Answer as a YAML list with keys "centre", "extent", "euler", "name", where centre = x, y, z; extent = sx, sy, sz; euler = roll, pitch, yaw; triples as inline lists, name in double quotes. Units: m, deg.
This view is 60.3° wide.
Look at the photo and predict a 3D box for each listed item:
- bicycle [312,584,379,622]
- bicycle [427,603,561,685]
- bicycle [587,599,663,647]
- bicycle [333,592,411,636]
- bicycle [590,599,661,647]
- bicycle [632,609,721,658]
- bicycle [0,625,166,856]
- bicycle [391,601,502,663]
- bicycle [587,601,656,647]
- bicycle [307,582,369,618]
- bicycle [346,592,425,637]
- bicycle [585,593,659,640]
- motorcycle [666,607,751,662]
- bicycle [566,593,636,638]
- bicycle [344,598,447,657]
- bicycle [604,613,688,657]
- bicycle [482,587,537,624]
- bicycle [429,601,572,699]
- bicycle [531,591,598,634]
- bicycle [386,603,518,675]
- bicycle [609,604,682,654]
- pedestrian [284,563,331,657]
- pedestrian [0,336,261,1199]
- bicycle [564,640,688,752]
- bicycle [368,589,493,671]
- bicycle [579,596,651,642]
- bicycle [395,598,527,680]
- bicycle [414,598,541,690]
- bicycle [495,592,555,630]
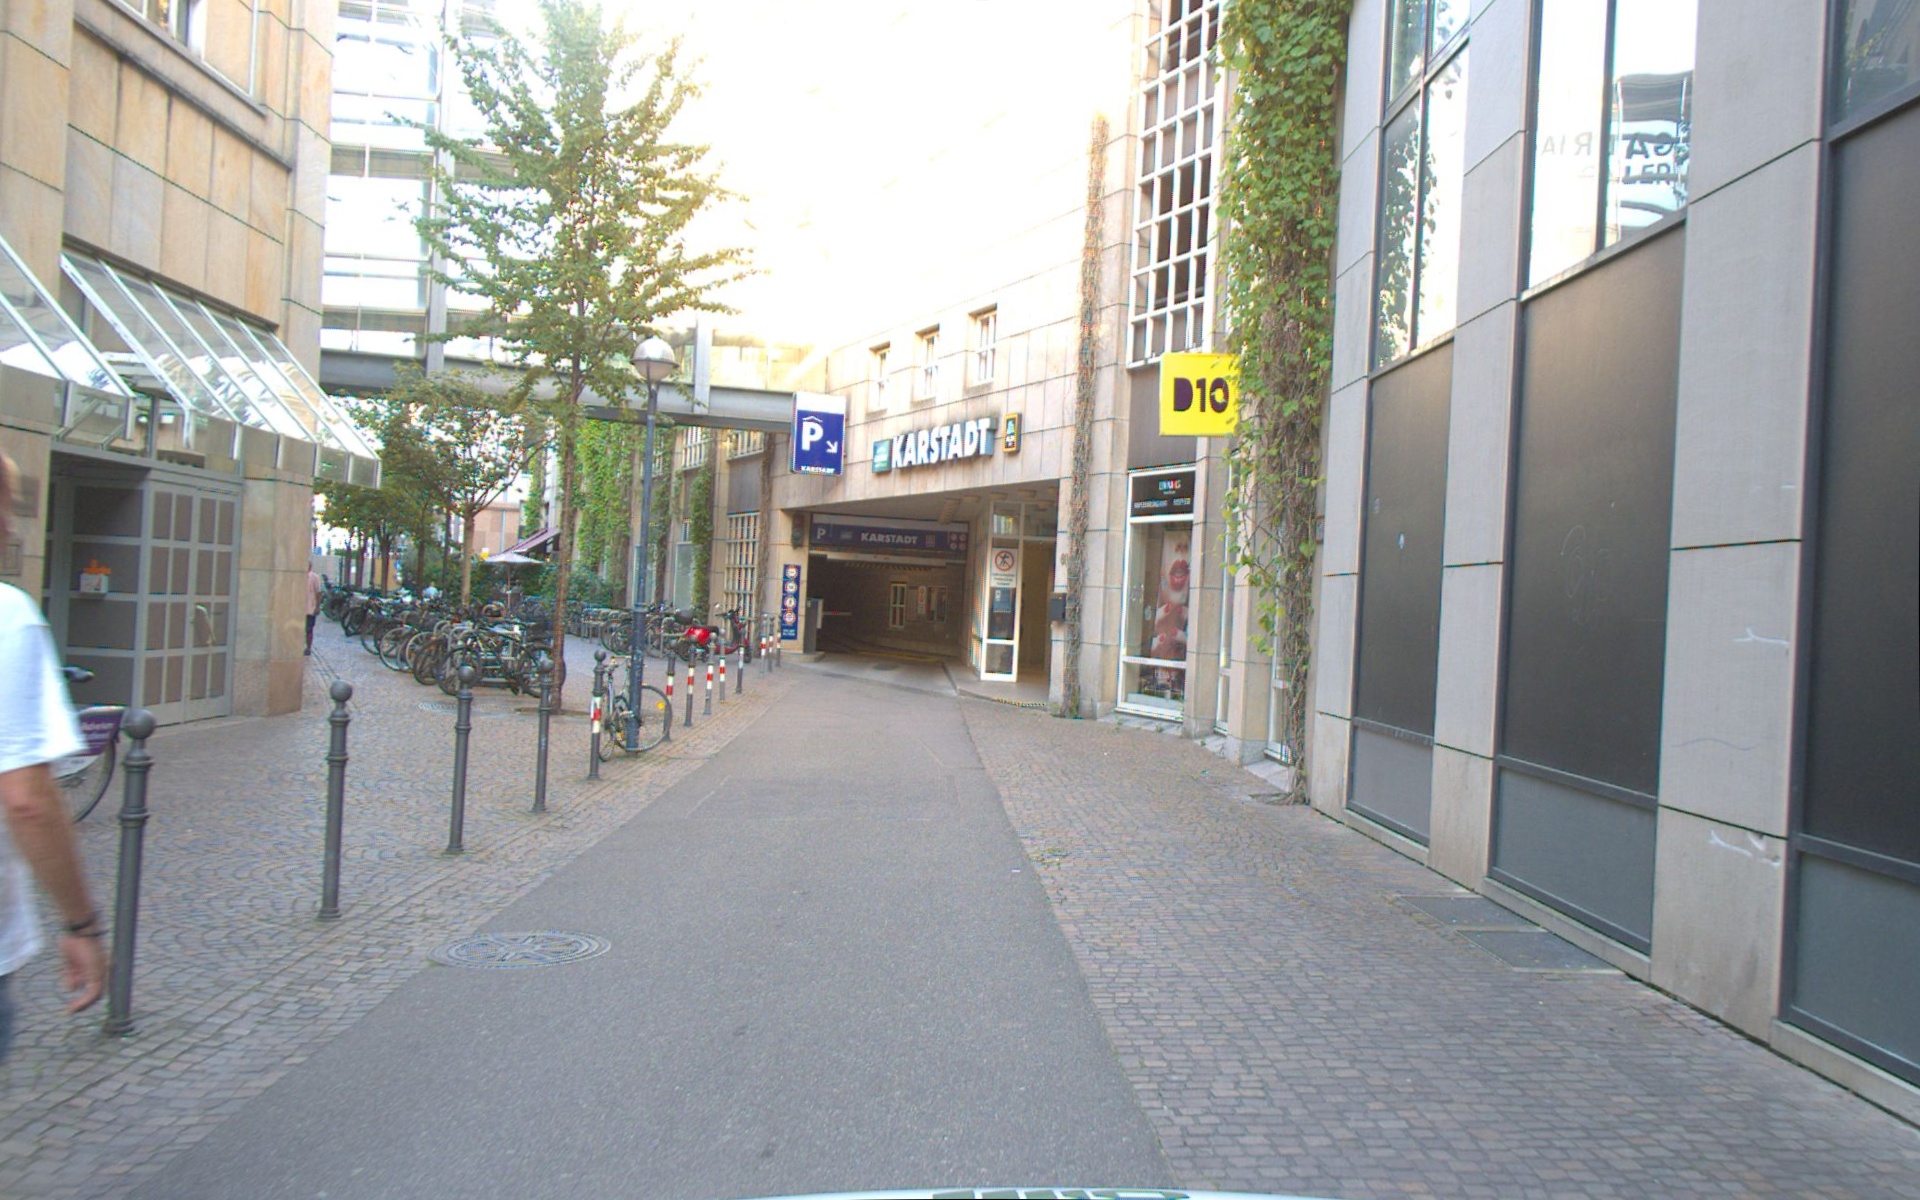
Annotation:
- centre: [-19.002, 0.098, 51.161]
  extent: [1.880, 1.131, 0.477]
  euler: [2, 0, -26]
  name: "bicycle"
- centre: [-6.813, 0.645, 24.202]
  extent: [1.813, 1.142, 0.530]
  euler: [2, 0, -26]
  name: "bicycle"
- centre: [-8.320, 0.579, 41.101]
  extent: [1.749, 1.134, 0.539]
  euler: [2, 0, -23]
  name: "bicycle"
- centre: [-14.532, 0.354, 40.906]
  extent: [1.757, 1.037, 0.477]
  euler: [2, 0, -26]
  name: "bicycle"
- centre: [-7.802, 0.539, 38.556]
  extent: [1.518, 1.067, 0.571]
  euler: [2, 0, -23]
  name: "bicycle"
- centre: [-6.137, 0.733, 35.861]
  extent: [1.823, 0.999, 0.460]
  euler: [2, 0, -23]
  name: "bicycle"
- centre: [-5.105, 0.731, 8.848]
  extent: [0.510, 1.157, 1.766]
  euler: [2, 0, 13]
  name: "bicycle"
- centre: [-9.320, 0.582, 30.019]
  extent: [1.853, 1.061, 0.530]
  euler: [2, 0, -26]
  name: "bicycle"
- centre: [-8.168, 0.584, 39.934]
  extent: [1.518, 1.067, 0.571]
  euler: [2, 0, -23]
  name: "bicycle"
- centre: [-20.767, 0.006, 55.192]
  extent: [1.880, 1.131, 0.477]
  euler: [2, 0, -26]
  name: "bicycle"
- centre: [-13.929, 0.344, 40.099]
  extent: [1.757, 1.037, 0.477]
  euler: [2, 0, -26]
  name: "bicycle"
- centre: [-8.620, 0.418, 42.160]
  extent: [1.749, 1.134, 0.539]
  euler: [3, 0, -23]
  name: "bicycle"
- centre: [-5.208, 0.718, 34.282]
  extent: [1.640, 1.069, 0.460]
  euler: [2, 0, -23]
  name: "motorcycle"
- centre: [-9.634, 0.418, 44.397]
  extent: [1.749, 1.134, 0.539]
  euler: [2, 0, -23]
  name: "bicycle"
- centre: [-10.815, 0.531, 31.701]
  extent: [1.801, 1.061, 0.530]
  euler: [2, 0, -26]
  name: "bicycle"
- centre: [-6.960, 0.781, 36.670]
  extent: [1.749, 0.920, 0.460]
  euler: [2, 0, -23]
  name: "bicycle"
- centre: [-15.677, 0.202, 57.520]
  extent: [1.749, 1.211, 0.582]
  euler: [2, 0, -23]
  name: "bicycle"
- centre: [-6.126, 0.669, 22.065]
  extent: [1.744, 1.252, 0.530]
  euler: [2, 0, -25]
  name: "bicycle"
- centre: [-11.130, 0.344, 46.523]
  extent: [1.749, 1.134, 0.539]
  euler: [2, 0, -23]
  name: "bicycle"
- centre: [-7.869, 0.608, 25.632]
  extent: [1.870, 1.070, 0.530]
  euler: [2, 0, -26]
  name: "bicycle"
- centre: [-7.142, 0.665, 37.612]
  extent: [1.518, 1.067, 0.571]
  euler: [2, 0, -23]
  name: "bicycle"
- centre: [-11.375, 0.167, 28.835]
  extent: [0.689, 1.610, 0.713]
  euler: [2, 0, -25]
  name: "pedestrian"
- centre: [-1.748, 0.535, 2.783]
  extent: [0.727, 1.854, 0.878]
  euler: [2, 0, -3]
  name: "pedestrian"
- centre: [-3.172, 0.892, 15.855]
  extent: [0.482, 0.955, 1.660]
  euler: [4, 0, 12]
  name: "bicycle"
- centre: [-8.404, 0.483, 26.279]
  extent: [1.810, 1.246, 0.530]
  euler: [2, 0, -26]
  name: "bicycle"
- centre: [-9.034, 0.497, 43.342]
  extent: [1.749, 1.134, 0.539]
  euler: [2, 0, -23]
  name: "bicycle"
- centre: [-7.570, 0.594, 25.117]
  extent: [1.848, 1.198, 0.530]
  euler: [2, 0, -26]
  name: "bicycle"
- centre: [-6.816, 0.621, 23.378]
  extent: [1.633, 1.252, 0.530]
  euler: [2, 0, -25]
  name: "bicycle"
- centre: [-13.715, 0.349, 52.169]
  extent: [1.747, 1.134, 0.539]
  euler: [2, 0, -21]
  name: "bicycle"
